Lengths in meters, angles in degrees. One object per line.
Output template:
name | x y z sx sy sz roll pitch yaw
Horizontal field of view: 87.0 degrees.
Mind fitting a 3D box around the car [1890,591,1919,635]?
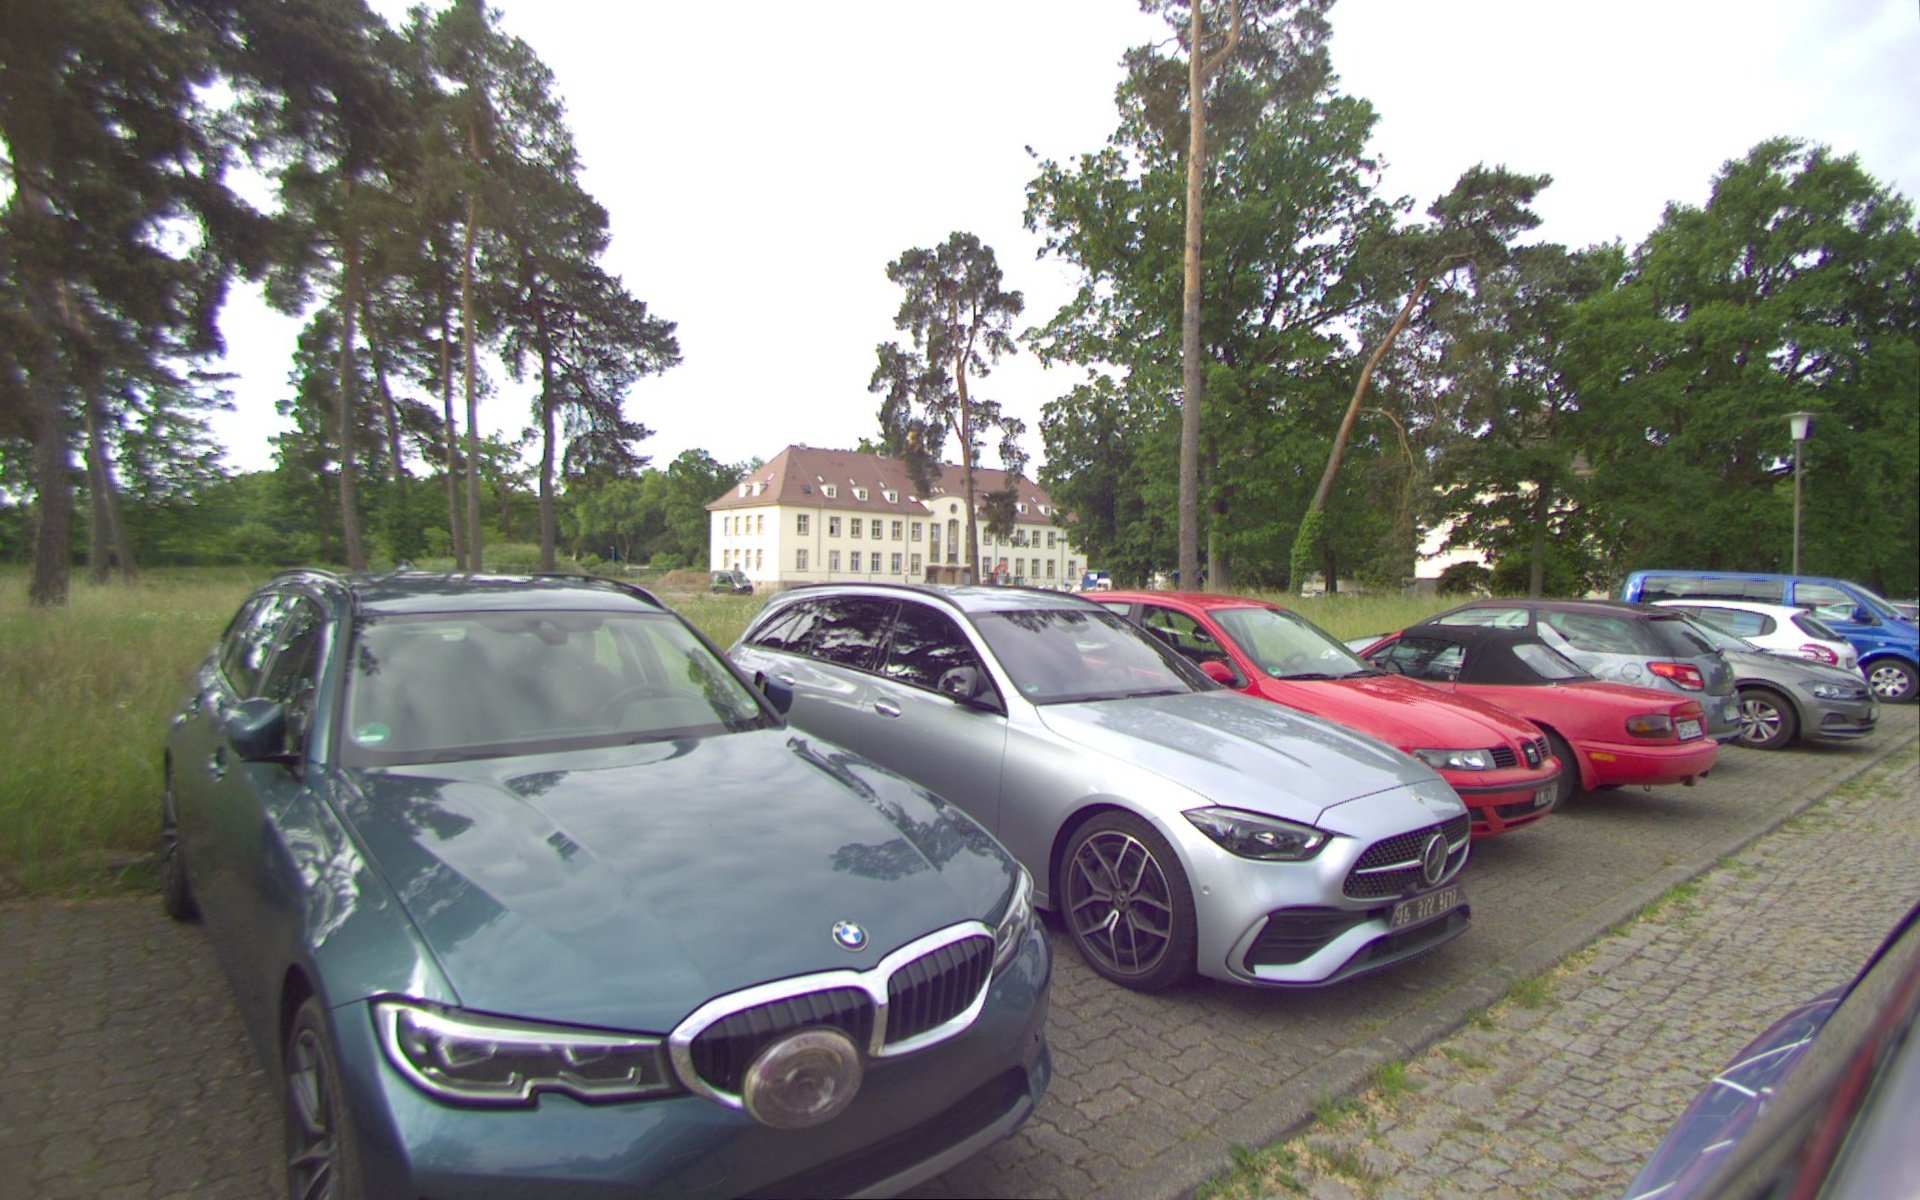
car | 36.041 0.563 36.026 1.555 1.557 4.148 0 3 -41

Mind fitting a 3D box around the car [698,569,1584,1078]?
car | 0.521 0.649 5.410 1.839 1.434 4.429 0 3 -43

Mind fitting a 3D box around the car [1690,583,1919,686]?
car | 16.161 0.587 18.771 1.809 1.489 3.872 0 5 -41

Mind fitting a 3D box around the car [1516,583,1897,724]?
car | 10.108 0.607 13.958 1.726 1.490 3.873 0 3 -39

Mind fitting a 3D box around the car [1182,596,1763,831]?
car | 3.956 0.704 8.322 1.727 1.251 3.871 0 3 -41

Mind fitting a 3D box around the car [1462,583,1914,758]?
car | 8.165 0.648 11.642 1.727 1.490 3.872 0 3 -40

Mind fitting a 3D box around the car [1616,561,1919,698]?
car | 14.237 0.412 17.151 1.968 1.969 4.818 0 3 -41

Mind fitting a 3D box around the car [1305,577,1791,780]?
car | 5.727 0.606 10.237 1.727 1.490 3.871 0 3 -41

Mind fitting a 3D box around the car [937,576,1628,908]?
car | 1.904 0.645 7.101 1.838 1.434 4.272 0 3 -40

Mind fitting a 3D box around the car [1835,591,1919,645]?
car | 28.309 0.554 29.590 1.555 1.478 3.892 0 3 -41

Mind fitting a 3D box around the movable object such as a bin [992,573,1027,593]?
movable object such as a bin | 5.123 -1.726 104.088 3.180 2.039 1.682 0 1 -33

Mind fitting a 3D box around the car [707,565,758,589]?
car | -23.449 -2.361 104.137 5.850 2.269 2.281 4 3 43

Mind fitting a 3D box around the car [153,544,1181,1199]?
car | -1.680 0.582 3.798 1.839 1.434 4.689 0 3 -42

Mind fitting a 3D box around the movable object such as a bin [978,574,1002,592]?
movable object such as a bin | 3.578 -2.056 120.865 1.524 2.039 2.987 0 1 -33

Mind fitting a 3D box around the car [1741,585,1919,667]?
car | 20.644 0.569 23.019 1.790 1.618 4.269 0 3 -41

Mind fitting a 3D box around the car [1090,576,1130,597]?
car | 15.108 -1.367 102.004 3.935 2.039 1.995 0 1 -45
